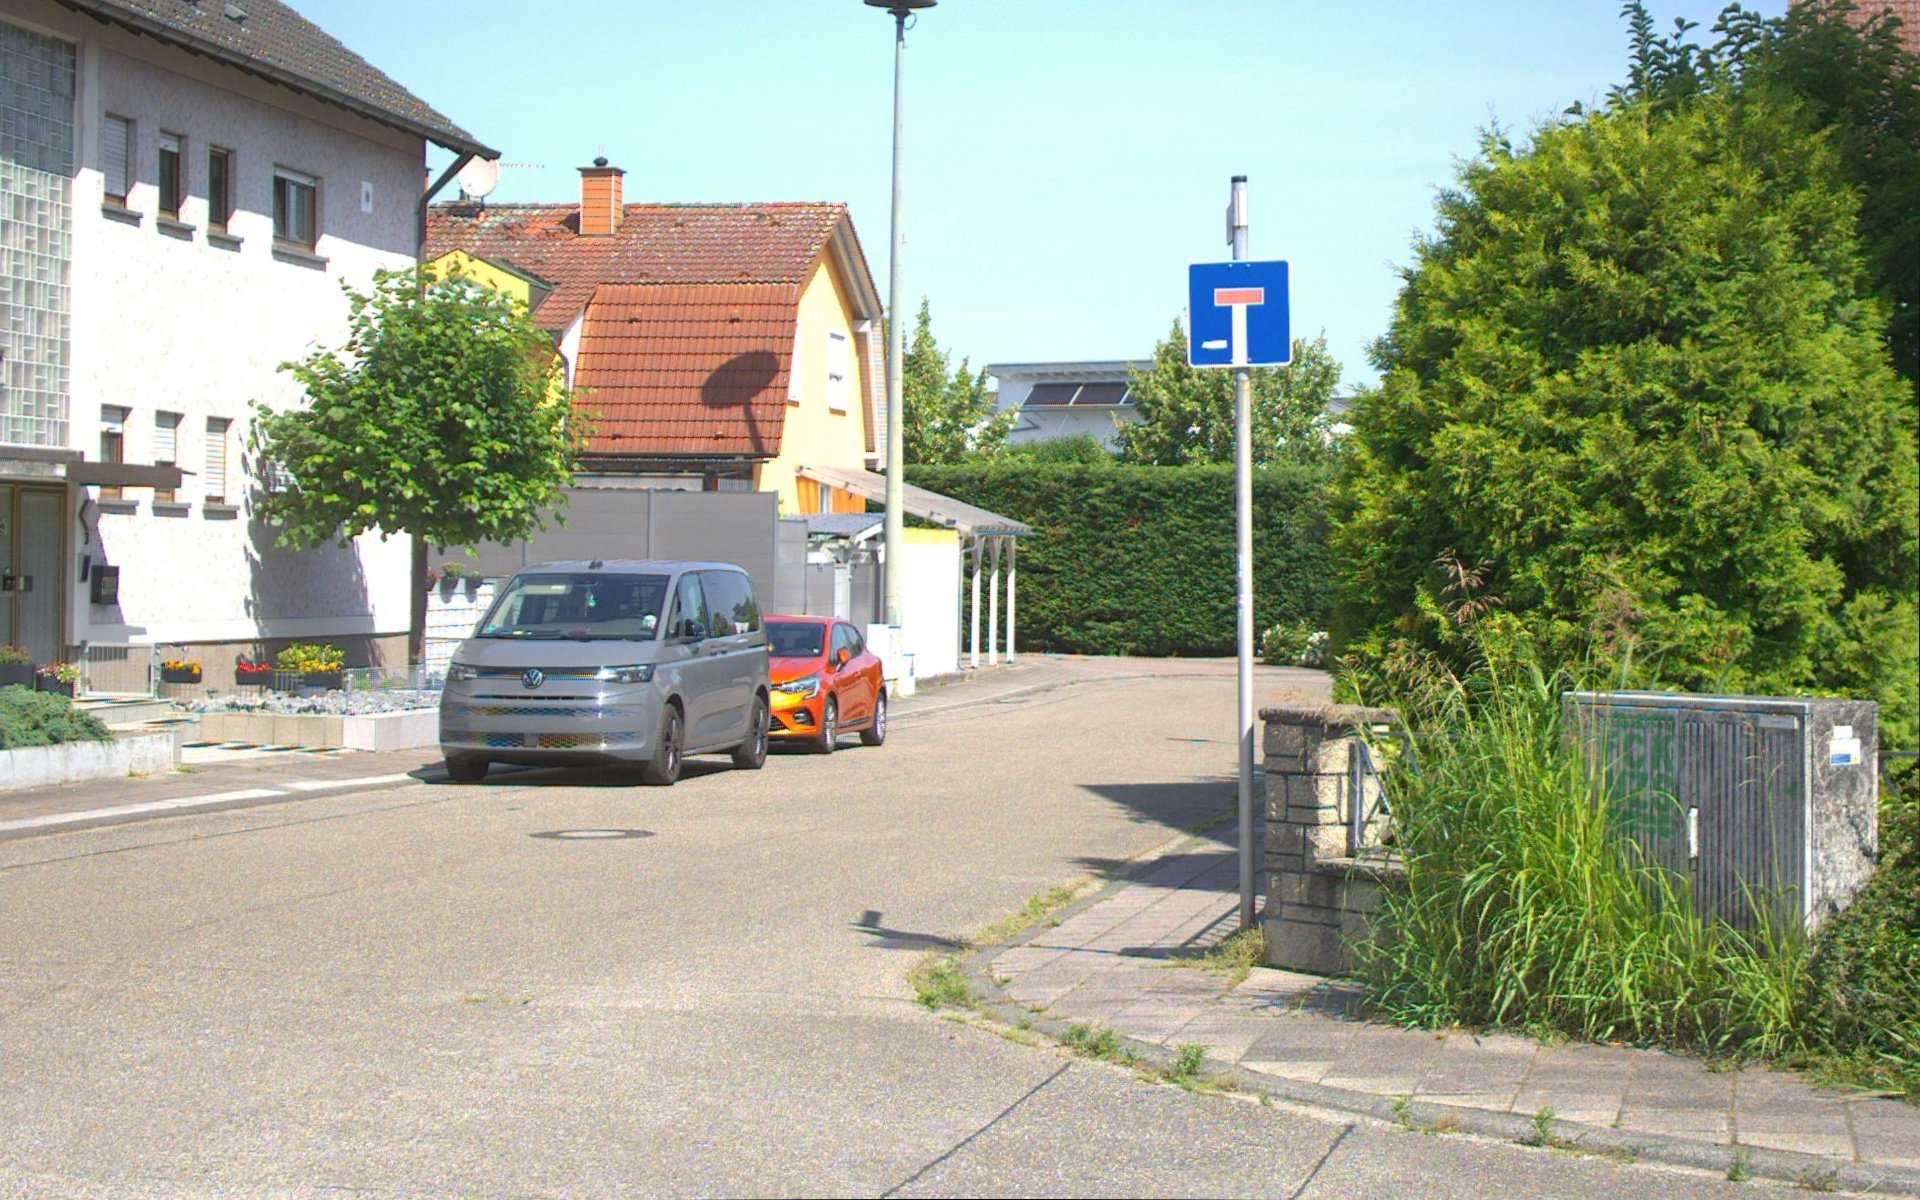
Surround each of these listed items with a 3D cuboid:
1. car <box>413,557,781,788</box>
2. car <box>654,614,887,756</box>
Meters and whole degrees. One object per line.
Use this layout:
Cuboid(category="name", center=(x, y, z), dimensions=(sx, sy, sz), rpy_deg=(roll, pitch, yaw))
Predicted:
Cuboid(category="car", center=(-3.068, 0.567, 30.059), dimensions=(1.902, 1.863, 4.369), rpy_deg=(0, 1, 13))
Cuboid(category="car", center=(-1.952, 0.858, 36.454), dimensions=(1.652, 1.360, 3.777), rpy_deg=(1, 0, 10))
